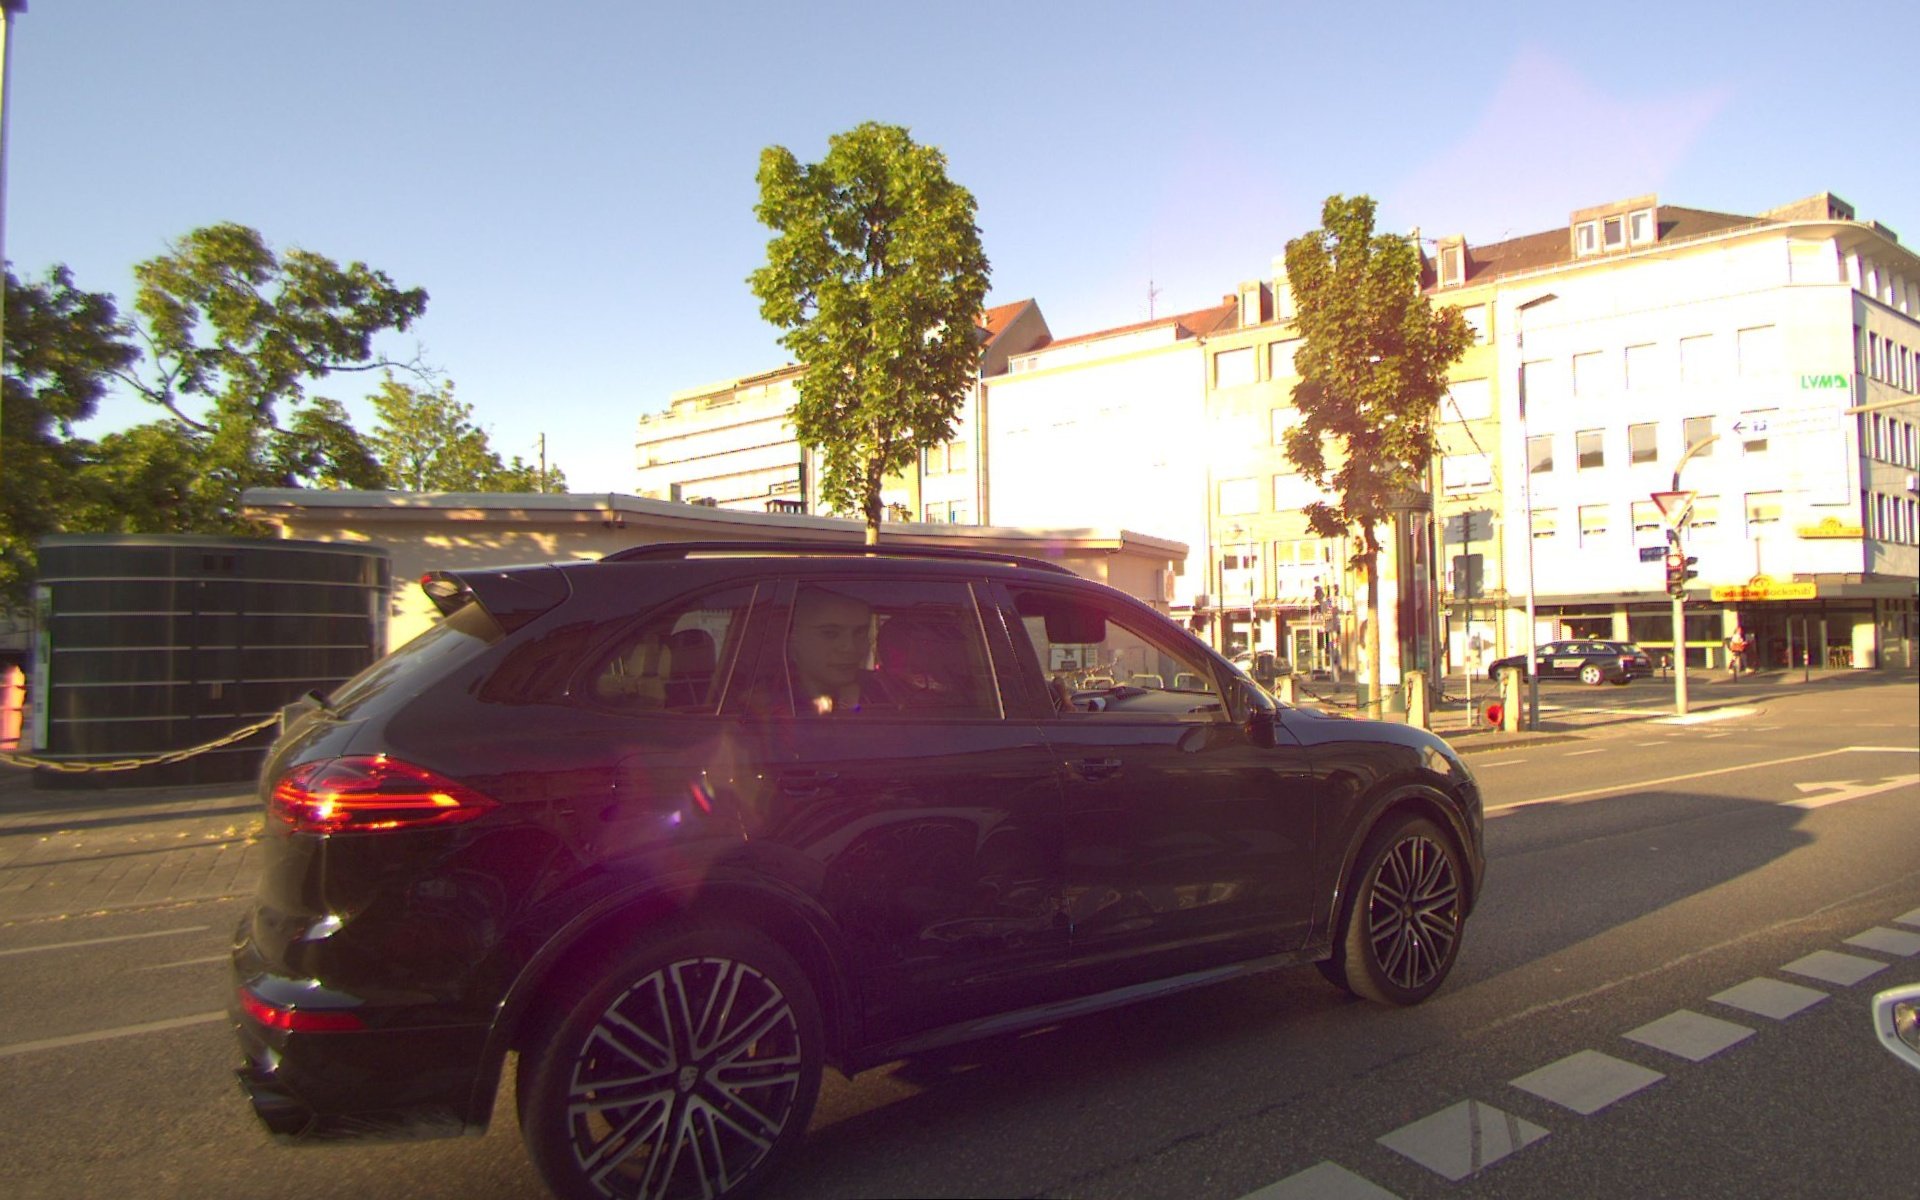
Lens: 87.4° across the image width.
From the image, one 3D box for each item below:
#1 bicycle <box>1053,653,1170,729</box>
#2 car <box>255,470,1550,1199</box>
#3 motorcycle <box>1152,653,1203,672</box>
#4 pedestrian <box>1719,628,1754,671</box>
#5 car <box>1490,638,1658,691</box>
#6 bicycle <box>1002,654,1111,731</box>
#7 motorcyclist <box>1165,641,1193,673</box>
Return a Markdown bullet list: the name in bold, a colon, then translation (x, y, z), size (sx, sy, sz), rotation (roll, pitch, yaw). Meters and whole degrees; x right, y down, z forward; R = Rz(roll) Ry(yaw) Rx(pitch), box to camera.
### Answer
- **bicycle**: translation (2.722, 1.627, 18.420), size (0.778, 1.273, 2.433), rotation (1, -3, -30)
- **car**: translation (0.077, 0.685, 3.949), size (4.510, 1.736, 1.939), rotation (0, -3, -32)
- **motorcycle**: translation (9.174, 2.643, 42.476), size (1.996, 0.791, 0.663), rotation (-2, -2, 28)
- **pedestrian**: translation (28.722, 1.825, 37.178), size (0.933, 1.557, 0.906), rotation (-2, -3, 34)
- **car**: translation (20.090, 2.075, 33.083), size (1.854, 1.616, 4.421), rotation (0, -2, -26)
- **bicycle**: translation (1.674, 1.605, 17.867), size (0.938, 1.273, 1.997), rotation (1, -3, -30)
- **motorcyclist**: translation (9.250, 2.404, 42.418), size (0.977, 1.337, 0.767), rotation (-2, -2, 30)
